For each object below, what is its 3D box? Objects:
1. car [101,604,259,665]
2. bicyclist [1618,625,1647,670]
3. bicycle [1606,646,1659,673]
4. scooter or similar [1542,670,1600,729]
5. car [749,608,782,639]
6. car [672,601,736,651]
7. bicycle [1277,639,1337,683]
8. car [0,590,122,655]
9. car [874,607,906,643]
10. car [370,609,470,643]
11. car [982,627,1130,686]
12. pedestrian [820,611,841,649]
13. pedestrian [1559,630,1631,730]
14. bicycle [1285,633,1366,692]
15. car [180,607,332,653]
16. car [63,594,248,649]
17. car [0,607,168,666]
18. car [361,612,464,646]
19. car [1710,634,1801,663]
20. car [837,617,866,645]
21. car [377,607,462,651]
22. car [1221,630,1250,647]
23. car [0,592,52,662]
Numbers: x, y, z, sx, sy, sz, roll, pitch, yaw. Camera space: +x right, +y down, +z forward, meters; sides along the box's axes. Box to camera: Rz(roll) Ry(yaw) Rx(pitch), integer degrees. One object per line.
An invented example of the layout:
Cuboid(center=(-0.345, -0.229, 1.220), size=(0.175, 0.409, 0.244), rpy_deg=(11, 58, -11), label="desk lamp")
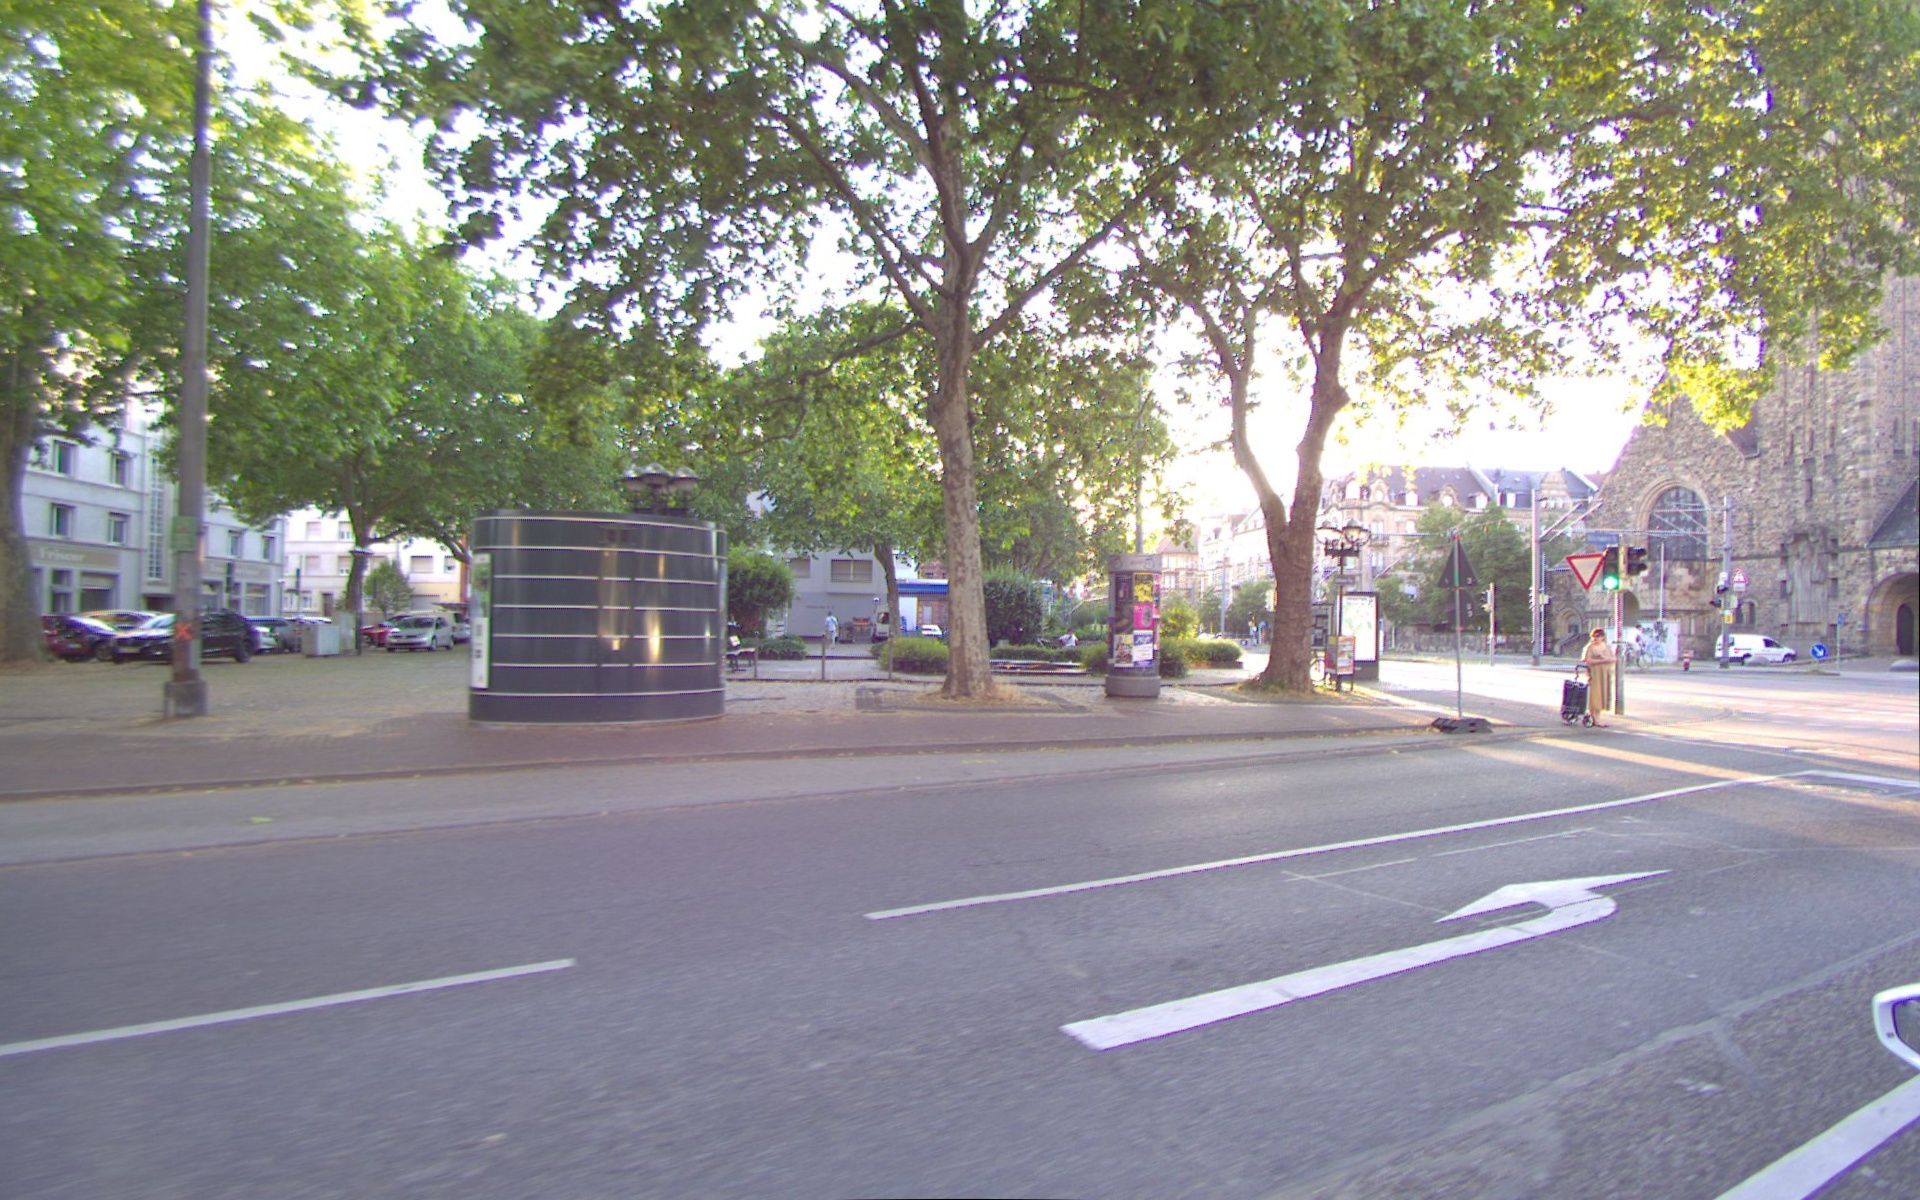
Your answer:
Cuboid(center=(-21.973, 0.977, 28.487), size=(1.642, 1.549, 3.761), rpy_deg=(2, -2, -4), label="car")
Cuboid(center=(28.502, 2.012, 42.587), size=(0.845, 1.852, 0.656), rpy_deg=(0, 0, -17), label="bicyclist")
Cuboid(center=(28.516, 2.531, 42.591), size=(2.210, 1.092, 0.656), rpy_deg=(1, 1, -19), label="bicycle")
Cuboid(center=(10.247, 1.651, 16.851), size=(0.845, 0.909, 0.586), rpy_deg=(3, -1, -40), label="scooter or similar")
Cuboid(center=(-13.601, 1.634, 70.425), size=(1.963, 2.040, 3.995), rpy_deg=(2, -1, -8), label="car")
Cuboid(center=(-9.916, 1.040, 39.193), size=(1.964, 1.805, 4.495), rpy_deg=(0, -2, -9), label="car")
Cuboid(center=(9.181, 1.607, 26.535), size=(1.779, 1.107, 0.455), rpy_deg=(3, -1, -33), label="bicycle")
Cuboid(center=(-27.201, 0.673, 28.697), size=(4.556, 1.805, 1.997), rpy_deg=(0, -2, -10), label="car")
Cuboid(center=(-4.993, 1.738, 70.885), size=(1.963, 2.374, 3.995), rpy_deg=(2, -1, -7), label="car")
Cuboid(center=(-29.819, 1.426, 55.644), size=(4.578, 1.834, 1.992), rpy_deg=(0, -2, -19), label="car")
Cuboid(center=(3.098, 1.841, 32.960), size=(4.552, 1.805, 1.999), rpy_deg=(-1, -2, -5), label="car")
Cuboid(center=(-5.887, 1.359, 45.641), size=(0.869, 1.694, 0.740), rpy_deg=(2, -1, -7), label="pedestrian")
Cuboid(center=(10.952, 1.356, 17.331), size=(0.766, 1.649, 0.796), rpy_deg=(2, -1, -35), label="pedestrian")
Cuboid(center=(8.557, 1.469, 23.511), size=(1.967, 1.344, 0.524), rpy_deg=(2, -1, -25), label="bicycle")
Cuboid(center=(-28.308, 1.227, 40.537), size=(4.556, 1.758, 1.997), rpy_deg=(0, -2, -10), label="car")
Cuboid(center=(-27.833, 0.752, 34.923), size=(4.556, 1.805, 2.090), rpy_deg=(0, -2, -10), label="car")
Cuboid(center=(-27.854, 1.142, 31.277), size=(4.556, 1.758, 1.997), rpy_deg=(0, -2, -10), label="car")
Cuboid(center=(-29.087, 1.526, 53.501), size=(4.572, 1.758, 1.990), rpy_deg=(0, -2, -22), label="car")
Cuboid(center=(48.316, 2.943, 61.044), size=(4.372, 1.537, 1.718), rpy_deg=(2, -1, -6), label="car")
Cuboid(center=(-7.639, 2.157, 70.646), size=(1.882, 1.873, 3.995), rpy_deg=(2, -1, -7), label="car")
Cuboid(center=(-22.496, 1.187, 41.970), size=(1.642, 1.684, 3.760), rpy_deg=(2, -1, -4), label="car")
Cuboid(center=(34.790, 4.877, 126.996), size=(1.964, 2.040, 3.993), rpy_deg=(2, -1, -10), label="car")
Cuboid(center=(-27.160, 0.753, 26.340), size=(4.556, 1.805, 1.997), rpy_deg=(0, -2, -10), label="car")
